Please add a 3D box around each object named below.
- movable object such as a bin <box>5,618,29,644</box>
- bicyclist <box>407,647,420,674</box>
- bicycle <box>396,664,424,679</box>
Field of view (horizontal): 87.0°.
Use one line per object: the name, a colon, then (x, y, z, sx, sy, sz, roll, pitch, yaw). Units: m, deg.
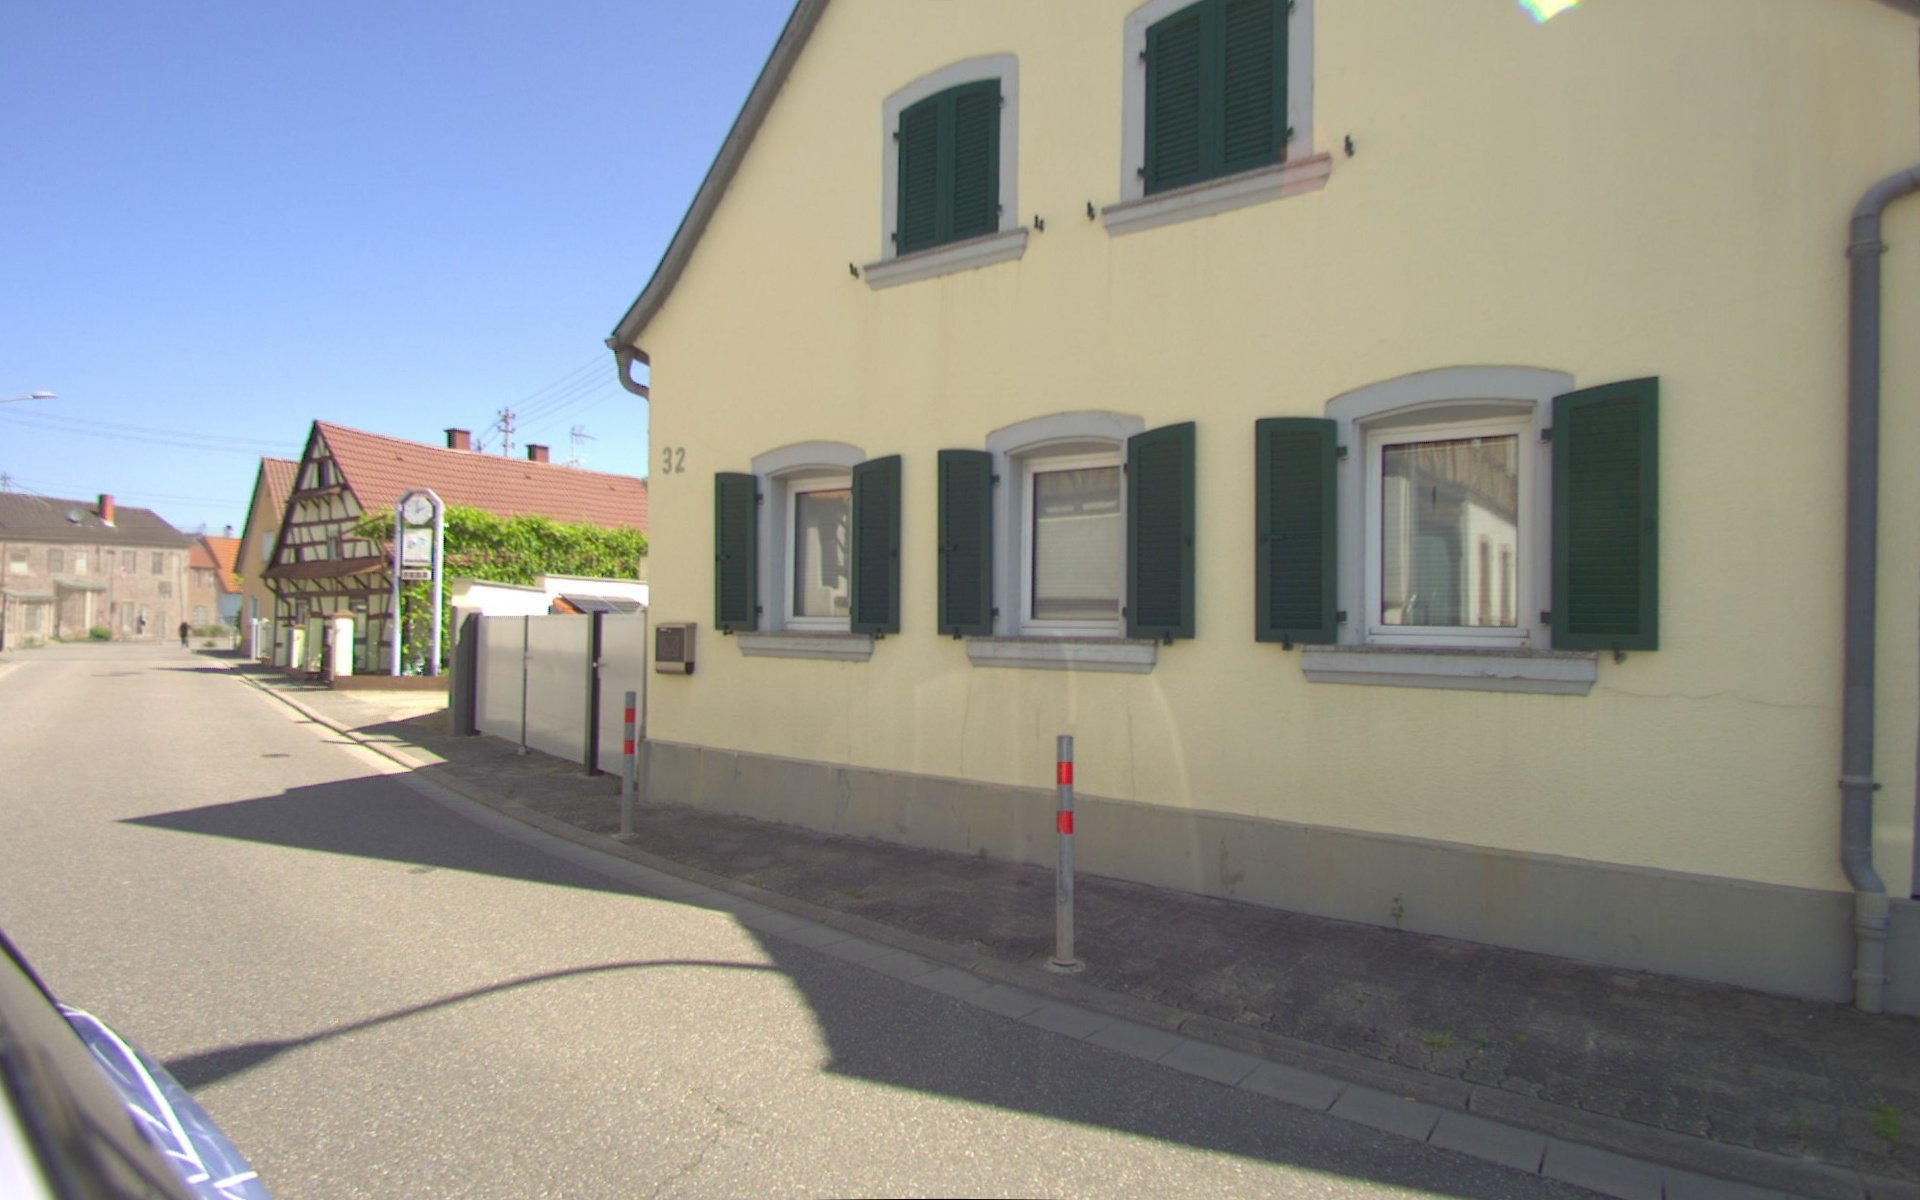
movable object such as a bin: (-36.508, 1.190, 39.193, 0.430, 0.984, 0.547, 0, -2, 25)
bicyclist: (-12.003, 1.334, 22.233, 0.242, 0.586, 0.219, 1, -1, -24)
bicycle: (-12.065, 1.566, 22.197, 0.526, 0.307, 0.221, 2, -1, -24)
